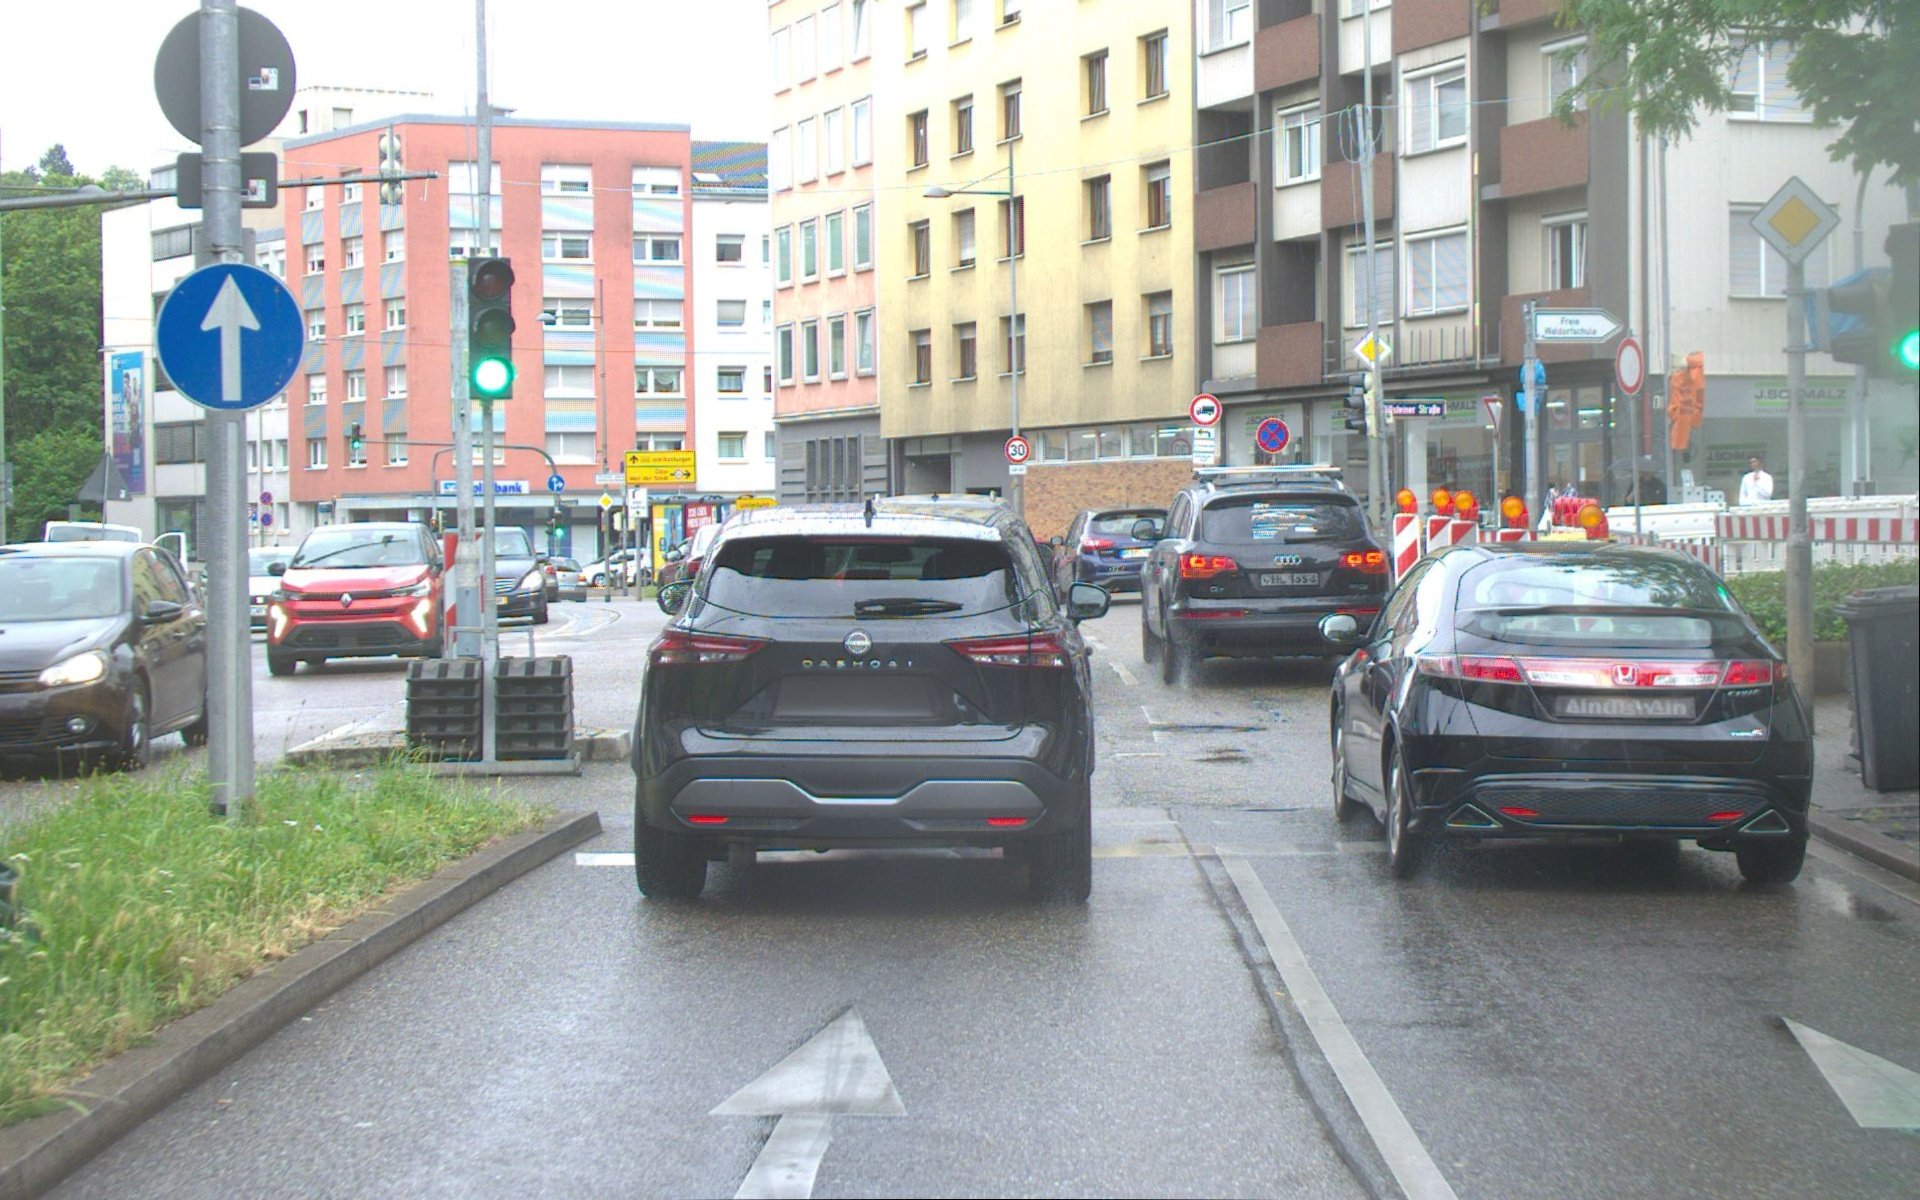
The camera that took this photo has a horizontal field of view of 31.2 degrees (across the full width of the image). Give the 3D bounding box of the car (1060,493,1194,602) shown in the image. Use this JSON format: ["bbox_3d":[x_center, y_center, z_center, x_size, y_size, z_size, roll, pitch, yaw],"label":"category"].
[{"bbox_3d":[2.533,-0.842,52.918,1.830,1.557,3.719,1,2,0],"label":"car"}]

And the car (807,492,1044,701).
[{"bbox_3d":[-0.313,-0.068,28.588,1.823,1.595,3.719,1,1,-1],"label":"car"}]

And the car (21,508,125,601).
[{"bbox_3d":[-15.640,-0.805,60.729,1.549,1.565,3.349,1,1,-11],"label":"car"}]

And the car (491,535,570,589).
[{"bbox_3d":[-11.537,-1.027,92.247,1.640,1.340,3.349,-3,1,-15],"label":"car"}]

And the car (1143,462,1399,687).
[{"bbox_3d":[2.622,-0.278,29.756,1.830,1.799,3.719,1,2,0],"label":"car"}]

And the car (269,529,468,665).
[{"bbox_3d":[-6.273,-0.068,36.751,1.641,1.317,3.349,-2,1,-3],"label":"car"}]

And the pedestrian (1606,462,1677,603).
[{"bbox_3d":[9.865,-0.981,49.774,0.822,2.006,0.839,2,2,22],"label":"pedestrian"}]

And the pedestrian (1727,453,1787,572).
[{"bbox_3d":[11.900,-1.308,51.339,0.528,1.763,0.623,0,2,-32],"label":"pedestrian"}]

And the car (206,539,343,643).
[{"bbox_3d":[-10.561,-0.164,53.121,1.640,1.485,3.349,-2,1,-5],"label":"car"}]

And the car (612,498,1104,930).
[{"bbox_3d":[-0.426,0.387,14.775,1.823,1.595,3.719,1,1,-1],"label":"car"}]

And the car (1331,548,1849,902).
[{"bbox_3d":[2.747,0.478,15.766,1.786,1.395,3.718,0,1,2],"label":"car"}]

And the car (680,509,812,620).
[{"bbox_3d":[-2.850,-0.494,45.902,1.641,1.376,3.349,-2,1,-3],"label":"car"}]

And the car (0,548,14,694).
[{"bbox_3d":[-9.254,0.243,29.249,1.549,1.285,3.349,-2,1,-2],"label":"car"}]

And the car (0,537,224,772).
[{"bbox_3d":[-5.992,0.313,22.413,1.670,1.365,3.753,-2,1,-2],"label":"car"}]

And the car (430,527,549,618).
[{"bbox_3d":[-7.497,-0.459,54.999,1.640,1.340,3.349,-2,1,-5],"label":"car"}]

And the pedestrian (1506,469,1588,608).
[{"bbox_3d":[8.610,-0.906,50.443,0.821,2.006,0.840,1,2,-20],"label":"pedestrian"}]

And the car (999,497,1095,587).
[{"bbox_3d":[1.739,-1.179,68.494,1.830,1.678,3.719,1,2,2],"label":"car"}]
